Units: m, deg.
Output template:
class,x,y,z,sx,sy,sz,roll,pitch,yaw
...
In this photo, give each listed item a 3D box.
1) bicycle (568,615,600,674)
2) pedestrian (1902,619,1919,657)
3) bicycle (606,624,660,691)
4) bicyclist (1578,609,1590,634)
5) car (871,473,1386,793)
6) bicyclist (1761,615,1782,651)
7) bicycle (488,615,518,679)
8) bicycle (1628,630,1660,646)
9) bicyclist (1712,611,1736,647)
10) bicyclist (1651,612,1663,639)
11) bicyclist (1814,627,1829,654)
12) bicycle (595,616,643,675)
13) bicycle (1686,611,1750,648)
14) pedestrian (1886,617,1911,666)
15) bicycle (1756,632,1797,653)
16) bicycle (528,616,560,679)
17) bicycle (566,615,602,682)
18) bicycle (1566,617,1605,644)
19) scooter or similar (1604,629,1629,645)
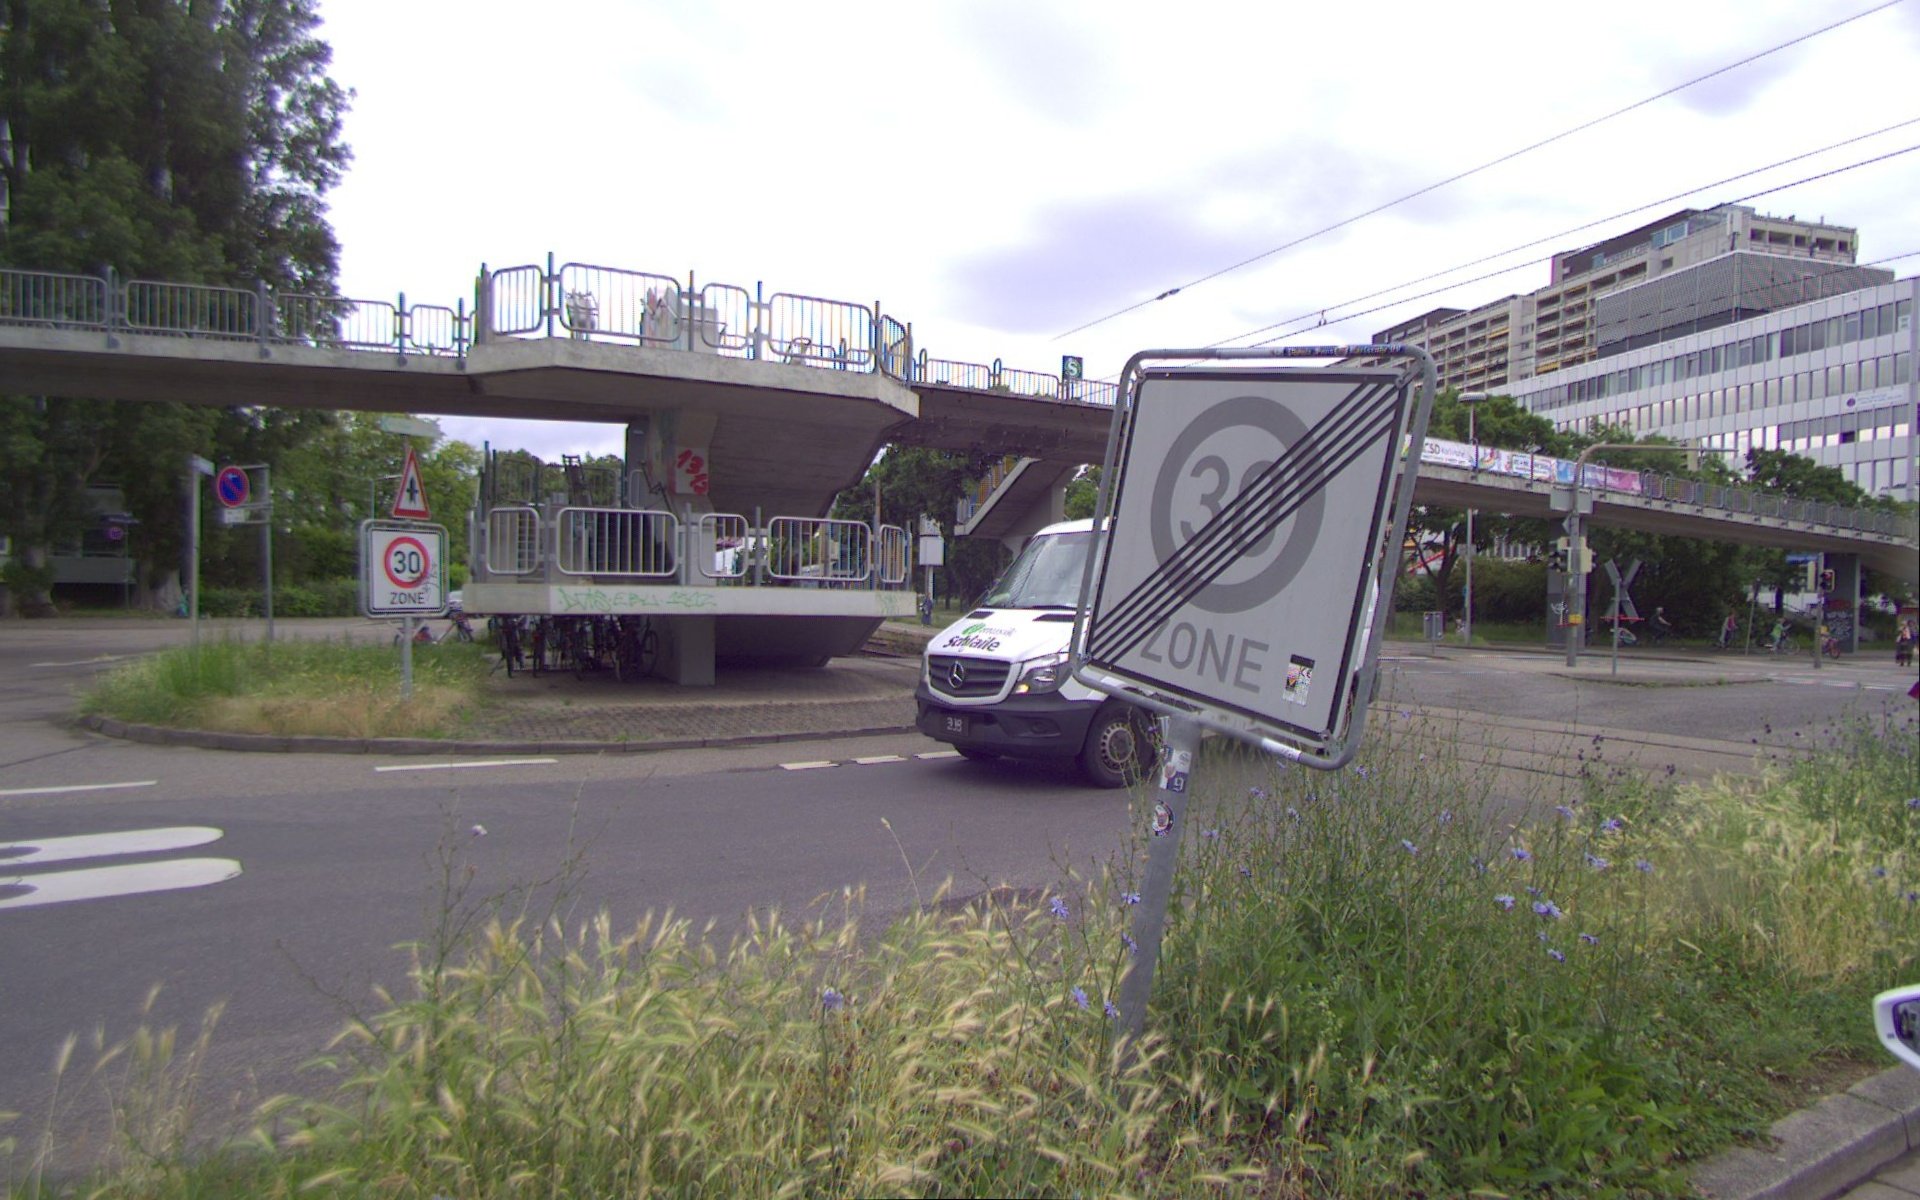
class,x,y,z,sx,sy,sz,roll,pitch,yaw
bicycle,-6.231,0.710,16.622,0.389,0.897,1.632,1,0,-24
pedestrian,41.288,1.649,43.581,0.572,1.600,0.777,2,0,42
bicycle,-4.876,0.828,15.038,0.387,0.897,1.741,1,0,-6
bicyclist,32.158,1.106,51.764,0.274,1.270,0.403,1,1,-30
car,1.848,0.305,9.775,5.165,2.322,2.116,1,-2,-40
bicyclist,37.534,1.528,46.455,0.525,1.666,0.562,2,0,-29
bicycle,-6.992,0.695,15.376,0.389,0.897,1.632,1,0,-24
bicycle,33.960,1.877,49.857,1.273,0.701,0.290,1,1,25
bicyclist,36.016,1.369,47.347,0.522,1.647,0.742,1,0,-35
bicyclist,34.424,1.241,49.606,0.376,1.321,0.278,1,1,24
bicyclist,38.317,1.805,44.682,0.372,1.197,0.403,0,1,-28
bicycle,-5.734,0.744,16.836,0.390,0.897,1.628,1,0,-32
bicycle,35.849,1.364,47.557,0.522,1.647,2.342,1,0,-35
pedestrian,33.316,1.461,35.654,0.402,1.714,0.612,1,1,-43
bicycle,37.539,1.936,46.182,2.493,0.938,0.628,1,1,-31
bicycle,-6.487,0.711,15.646,0.389,0.897,1.632,1,0,-24
bicycle,-5.590,0.695,14.908,0.389,0.897,1.632,1,0,-24
bicycle,32.211,1.557,51.716,0.384,1.321,1.695,1,1,-31
scooter or similar,32.912,1.857,50.337,0.978,0.724,0.406,1,0,26
